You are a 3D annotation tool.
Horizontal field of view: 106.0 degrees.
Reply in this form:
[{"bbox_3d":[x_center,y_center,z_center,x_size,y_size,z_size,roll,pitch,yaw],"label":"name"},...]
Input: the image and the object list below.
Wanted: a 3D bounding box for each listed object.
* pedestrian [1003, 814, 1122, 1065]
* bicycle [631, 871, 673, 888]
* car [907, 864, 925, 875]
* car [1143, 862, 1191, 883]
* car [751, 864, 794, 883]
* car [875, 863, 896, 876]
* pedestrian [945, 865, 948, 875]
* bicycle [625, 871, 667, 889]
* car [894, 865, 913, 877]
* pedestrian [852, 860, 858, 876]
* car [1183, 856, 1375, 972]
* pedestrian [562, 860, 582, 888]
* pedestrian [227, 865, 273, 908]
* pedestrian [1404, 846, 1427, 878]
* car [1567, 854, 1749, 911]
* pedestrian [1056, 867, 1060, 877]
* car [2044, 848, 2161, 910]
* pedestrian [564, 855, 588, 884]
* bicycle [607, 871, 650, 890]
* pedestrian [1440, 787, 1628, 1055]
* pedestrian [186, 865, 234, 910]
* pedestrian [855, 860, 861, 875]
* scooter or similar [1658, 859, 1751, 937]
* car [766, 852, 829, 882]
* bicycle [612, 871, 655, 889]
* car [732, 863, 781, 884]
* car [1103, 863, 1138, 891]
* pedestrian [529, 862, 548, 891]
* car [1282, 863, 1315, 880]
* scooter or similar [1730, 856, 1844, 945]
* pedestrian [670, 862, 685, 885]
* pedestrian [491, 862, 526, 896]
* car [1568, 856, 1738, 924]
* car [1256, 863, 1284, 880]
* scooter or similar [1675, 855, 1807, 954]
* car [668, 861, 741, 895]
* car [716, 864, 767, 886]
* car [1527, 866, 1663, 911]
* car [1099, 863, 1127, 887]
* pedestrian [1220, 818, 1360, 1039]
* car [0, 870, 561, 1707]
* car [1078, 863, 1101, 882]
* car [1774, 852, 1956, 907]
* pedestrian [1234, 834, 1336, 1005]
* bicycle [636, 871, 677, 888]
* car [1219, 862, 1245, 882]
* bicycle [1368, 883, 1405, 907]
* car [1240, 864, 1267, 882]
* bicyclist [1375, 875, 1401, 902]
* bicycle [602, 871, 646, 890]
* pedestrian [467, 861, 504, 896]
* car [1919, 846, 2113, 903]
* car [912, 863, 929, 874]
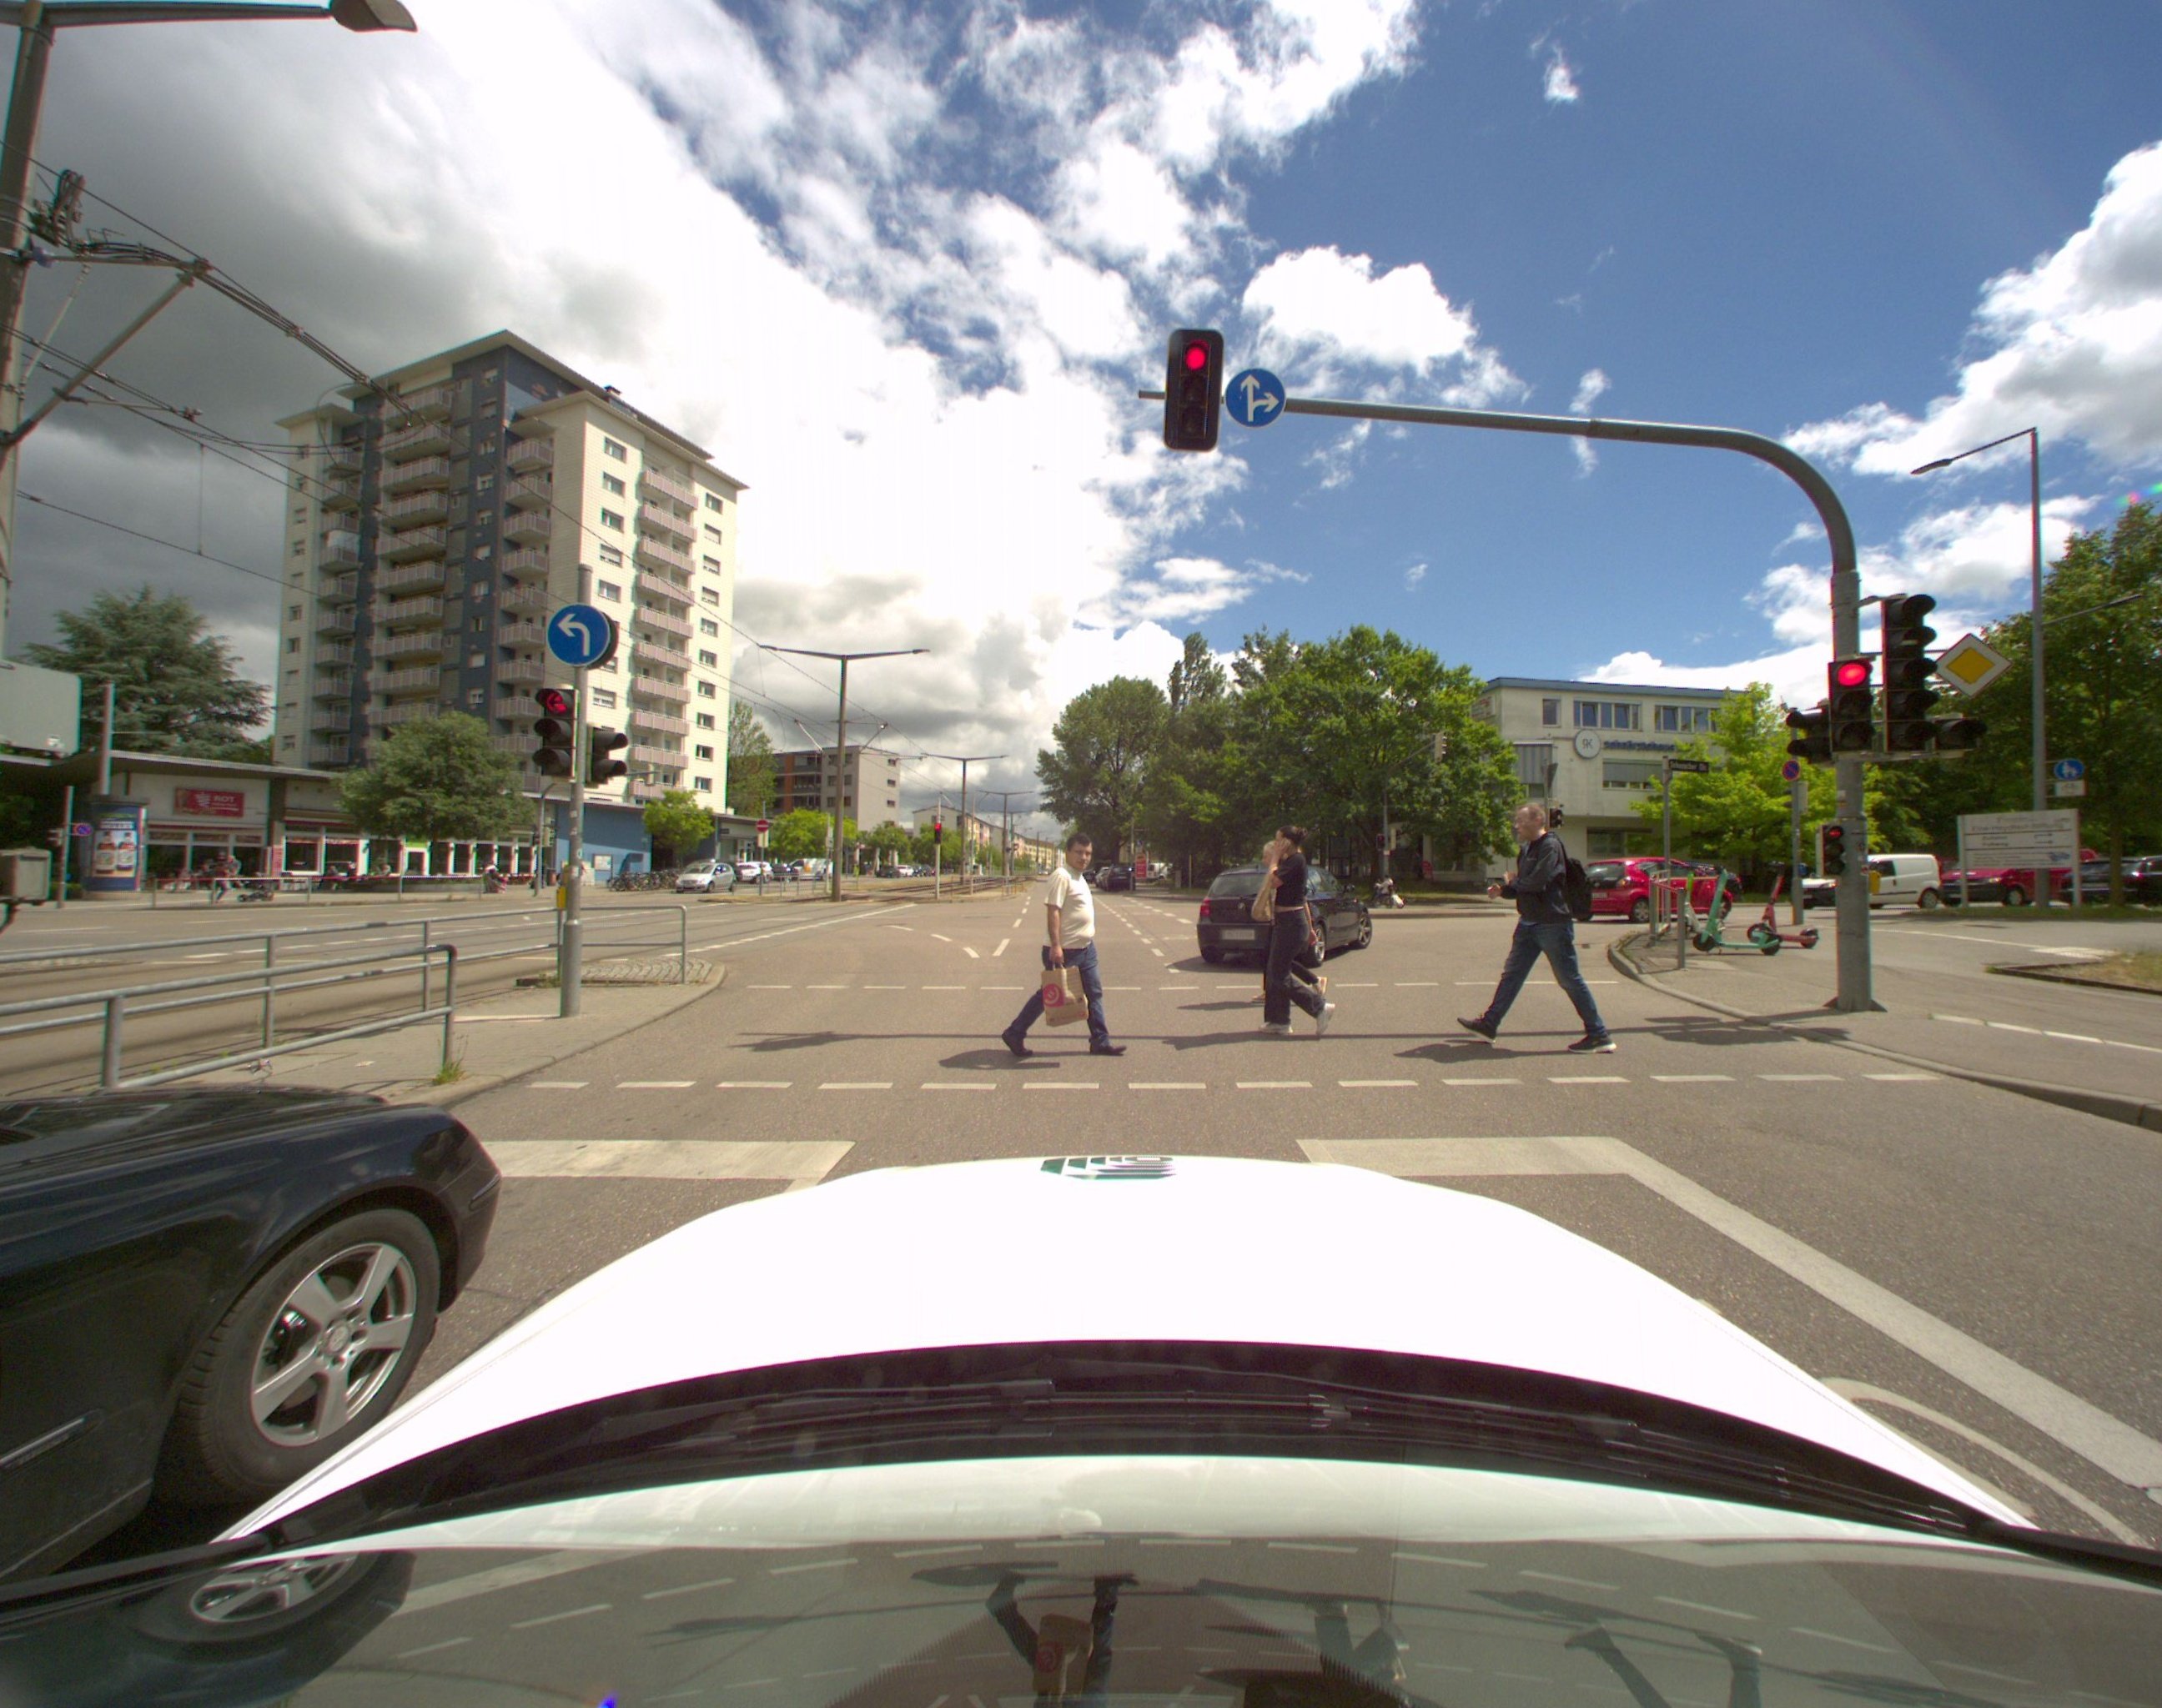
[{"bbox_3d":[-0.145,0.614,6.265,0.866,1.808,0.741,0,0,-2],"label":"pedestrian"},{"bbox_3d":[-23.354,1.388,44.346,1.943,0.935,0.494,0,-1,-5],"label":"bicycle"},{"bbox_3d":[-21.434,2.043,105.908,1.758,1.395,3.993,0,0,-5],"label":"car"},{"bbox_3d":[7.771,1.640,73.718,4.001,1.823,1.766,0,-1,-21],"label":"car"},{"bbox_3d":[-24.800,1.543,65.380,1.800,1.420,4.166,0,-1,-43],"label":"car"},{"bbox_3d":[-22.080,1.694,92.140,1.758,1.395,3.993,0,0,-5],"label":"car"},{"bbox_3d":[-21.455,2.525,129.605,0.451,1.637,0.480,0,-1,-1],"label":"pedestrian"},{"bbox_3d":[-23.374,1.382,43.795,1.943,0.935,0.494,0,-1,-5],"label":"bicycle"},{"bbox_3d":[-21.668,2.067,99.605,1.758,1.395,3.993,0,0,-5],"label":"car"},{"bbox_3d":[-23.979,1.522,86.470,0.547,1.716,0.667,0,-1,-8],"label":"pedestrian"},{"bbox_3d":[3.215,0.776,12.618,1.735,1.487,4.025,0,0,31],"label":"car"},{"bbox_3d":[-29.800,1.150,47.687,0.767,1.615,0.695,0,-1,-12],"label":"pedestrian"},{"bbox_3d":[-32.538,1.252,31.882,0.957,1.659,1.002,-1,-1,27],"label":"pedestrian"},{"bbox_3d":[17.867,0.429,43.489,0.769,1.643,0.903,0,-1,-13],"label":"pedestrian"},{"bbox_3d":[18.359,0.870,26.040,4.551,1.717,1.996,0,-1,-5],"label":"car"},{"bbox_3d":[-3.736,2.896,132.109,0.477,1.637,0.454,0,-1,1],"label":"pedestrian"},{"bbox_3d":[29.043,0.633,22.056,4.511,1.554,1.991,0,-1,-13],"label":"car"},{"bbox_3d":[-33.475,1.017,53.999,0.863,1.917,1.213,0,0,-4],"label":"pedestrian"},{"bbox_3d":[-23.424,1.363,42.170,1.943,0.935,0.494,0,-1,-5],"label":"bicycle"},{"bbox_3d":[3.495,0.482,6.372,0.963,1.942,0.896,0,0,-3],"label":"pedestrian"},{"bbox_3d":[-32.960,1.245,30.820,0.957,1.659,1.002,-1,-1,27],"label":"pedestrian"},{"bbox_3d":[-25.083,1.553,91.681,0.547,1.716,0.404,0,-1,-8],"label":"pedestrian"},{"bbox_3d":[9.761,0.678,12.747,1.360,1.156,0.540,1,0,-23],"label":"scooter or similar"},{"bbox_3d":[-24.682,1.083,70.630,2.848,2.479,6.641,0,-1,-42],"label":"car"},{"bbox_3d":[-23.448,1.368,42.676,1.943,0.935,0.494,0,-1,-5],"label":"bicycle"},{"bbox_3d":[-24.879,1.435,62.391,4.165,1.538,1.973,-1,-1,45],"label":"car"},{"bbox_3d":[2.495,1.453,52.309,2.144,1.684,4.001,0,-1,2],"label":"car"},{"bbox_3d":[-30.213,1.232,45.367,0.771,1.615,0.692,0,-1,-26],"label":"pedestrian"},{"bbox_3d":[20.573,1.646,77.106,1.728,1.595,3.992,0,0,-5],"label":"car"},{"bbox_3d":[10.246,0.666,11.834,1.225,1.240,0.555,2,0,-7],"label":"scooter or similar"},{"bbox_3d":[-28.329,1.352,57.207,0.768,1.615,0.695,0,-1,-14],"label":"pedestrian"},{"bbox_3d":[-28.616,1.232,40.727,0.938,1.659,1.103,-1,-1,14],"label":"pedestrian"},{"bbox_3d":[12.984,0.760,18.522,3.193,1.441,1.538,0,0,-17],"label":"car"},{"bbox_3d":[17.710,1.636,76.614,1.626,1.595,3.998,0,0,-1],"label":"car"},{"bbox_3d":[8.860,0.662,10.958,1.336,1.277,0.463,0,0,8],"label":"scooter or similar"},{"bbox_3d":[-19.804,1.207,42.997,1.930,1.693,3.874,0,0,2],"label":"car"},{"bbox_3d":[-24.668,1.500,59.095,4.165,1.570,1.973,-1,-1,45],"label":"car"},{"bbox_3d":[18.821,1.235,29.910,3.906,1.556,1.994,0,0,-9],"label":"car"},{"bbox_3d":[2.335,1.561,59.764,1.986,1.684,4.001,0,-1,2],"label":"car"},{"bbox_3d":[1.762,0.593,6.966,0.933,1.765,0.769,0,0,-10],"label":"pedestrian"},{"bbox_3d":[-2.770,0.776,0.606,1.721,1.461,4.546,0,0,2],"label":"car"},{"bbox_3d":[0.817,1.708,75.183,1.986,1.684,4.002,0,0,2],"label":"car"},{"bbox_3d":[26.075,0.812,27.153,4.555,1.717,1.995,0,-1,-8],"label":"car"},{"bbox_3d":[2.151,0.655,8.531,0.945,1.674,0.874,-1,-1,16],"label":"pedestrian"},{"bbox_3d":[-23.387,1.394,44.841,1.943,0.935,0.494,0,-1,-5],"label":"bicycle"},{"bbox_3d":[13.851,1.632,74.815,1.626,1.811,4.030,0,0,-1],"label":"car"},{"bbox_3d":[11.785,1.569,31.440,0.788,0.819,1.808,0,0,1],"label":"bicycle"},{"bbox_3d":[15.928,1.766,75.456,1.626,1.573,4.030,0,0,-1],"label":"car"},{"bbox_3d":[11.781,1.315,31.257,0.788,1.022,0.636,0,-1,1],"label":"bicyclist"},{"bbox_3d":[-23.391,1.357,41.689,1.943,0.935,0.494,0,-1,-5],"label":"bicycle"},{"bbox_3d":[-28.811,1.160,39.437,0.938,1.659,1.103,-1,-1,14],"label":"pedestrian"},{"bbox_3d":[31.760,0.694,27.737,4.800,1.865,1.994,0,-2,-8],"label":"car"},{"bbox_3d":[-21.812,1.958,110.774,1.758,1.395,3.993,0,0,-5],"label":"car"}]
